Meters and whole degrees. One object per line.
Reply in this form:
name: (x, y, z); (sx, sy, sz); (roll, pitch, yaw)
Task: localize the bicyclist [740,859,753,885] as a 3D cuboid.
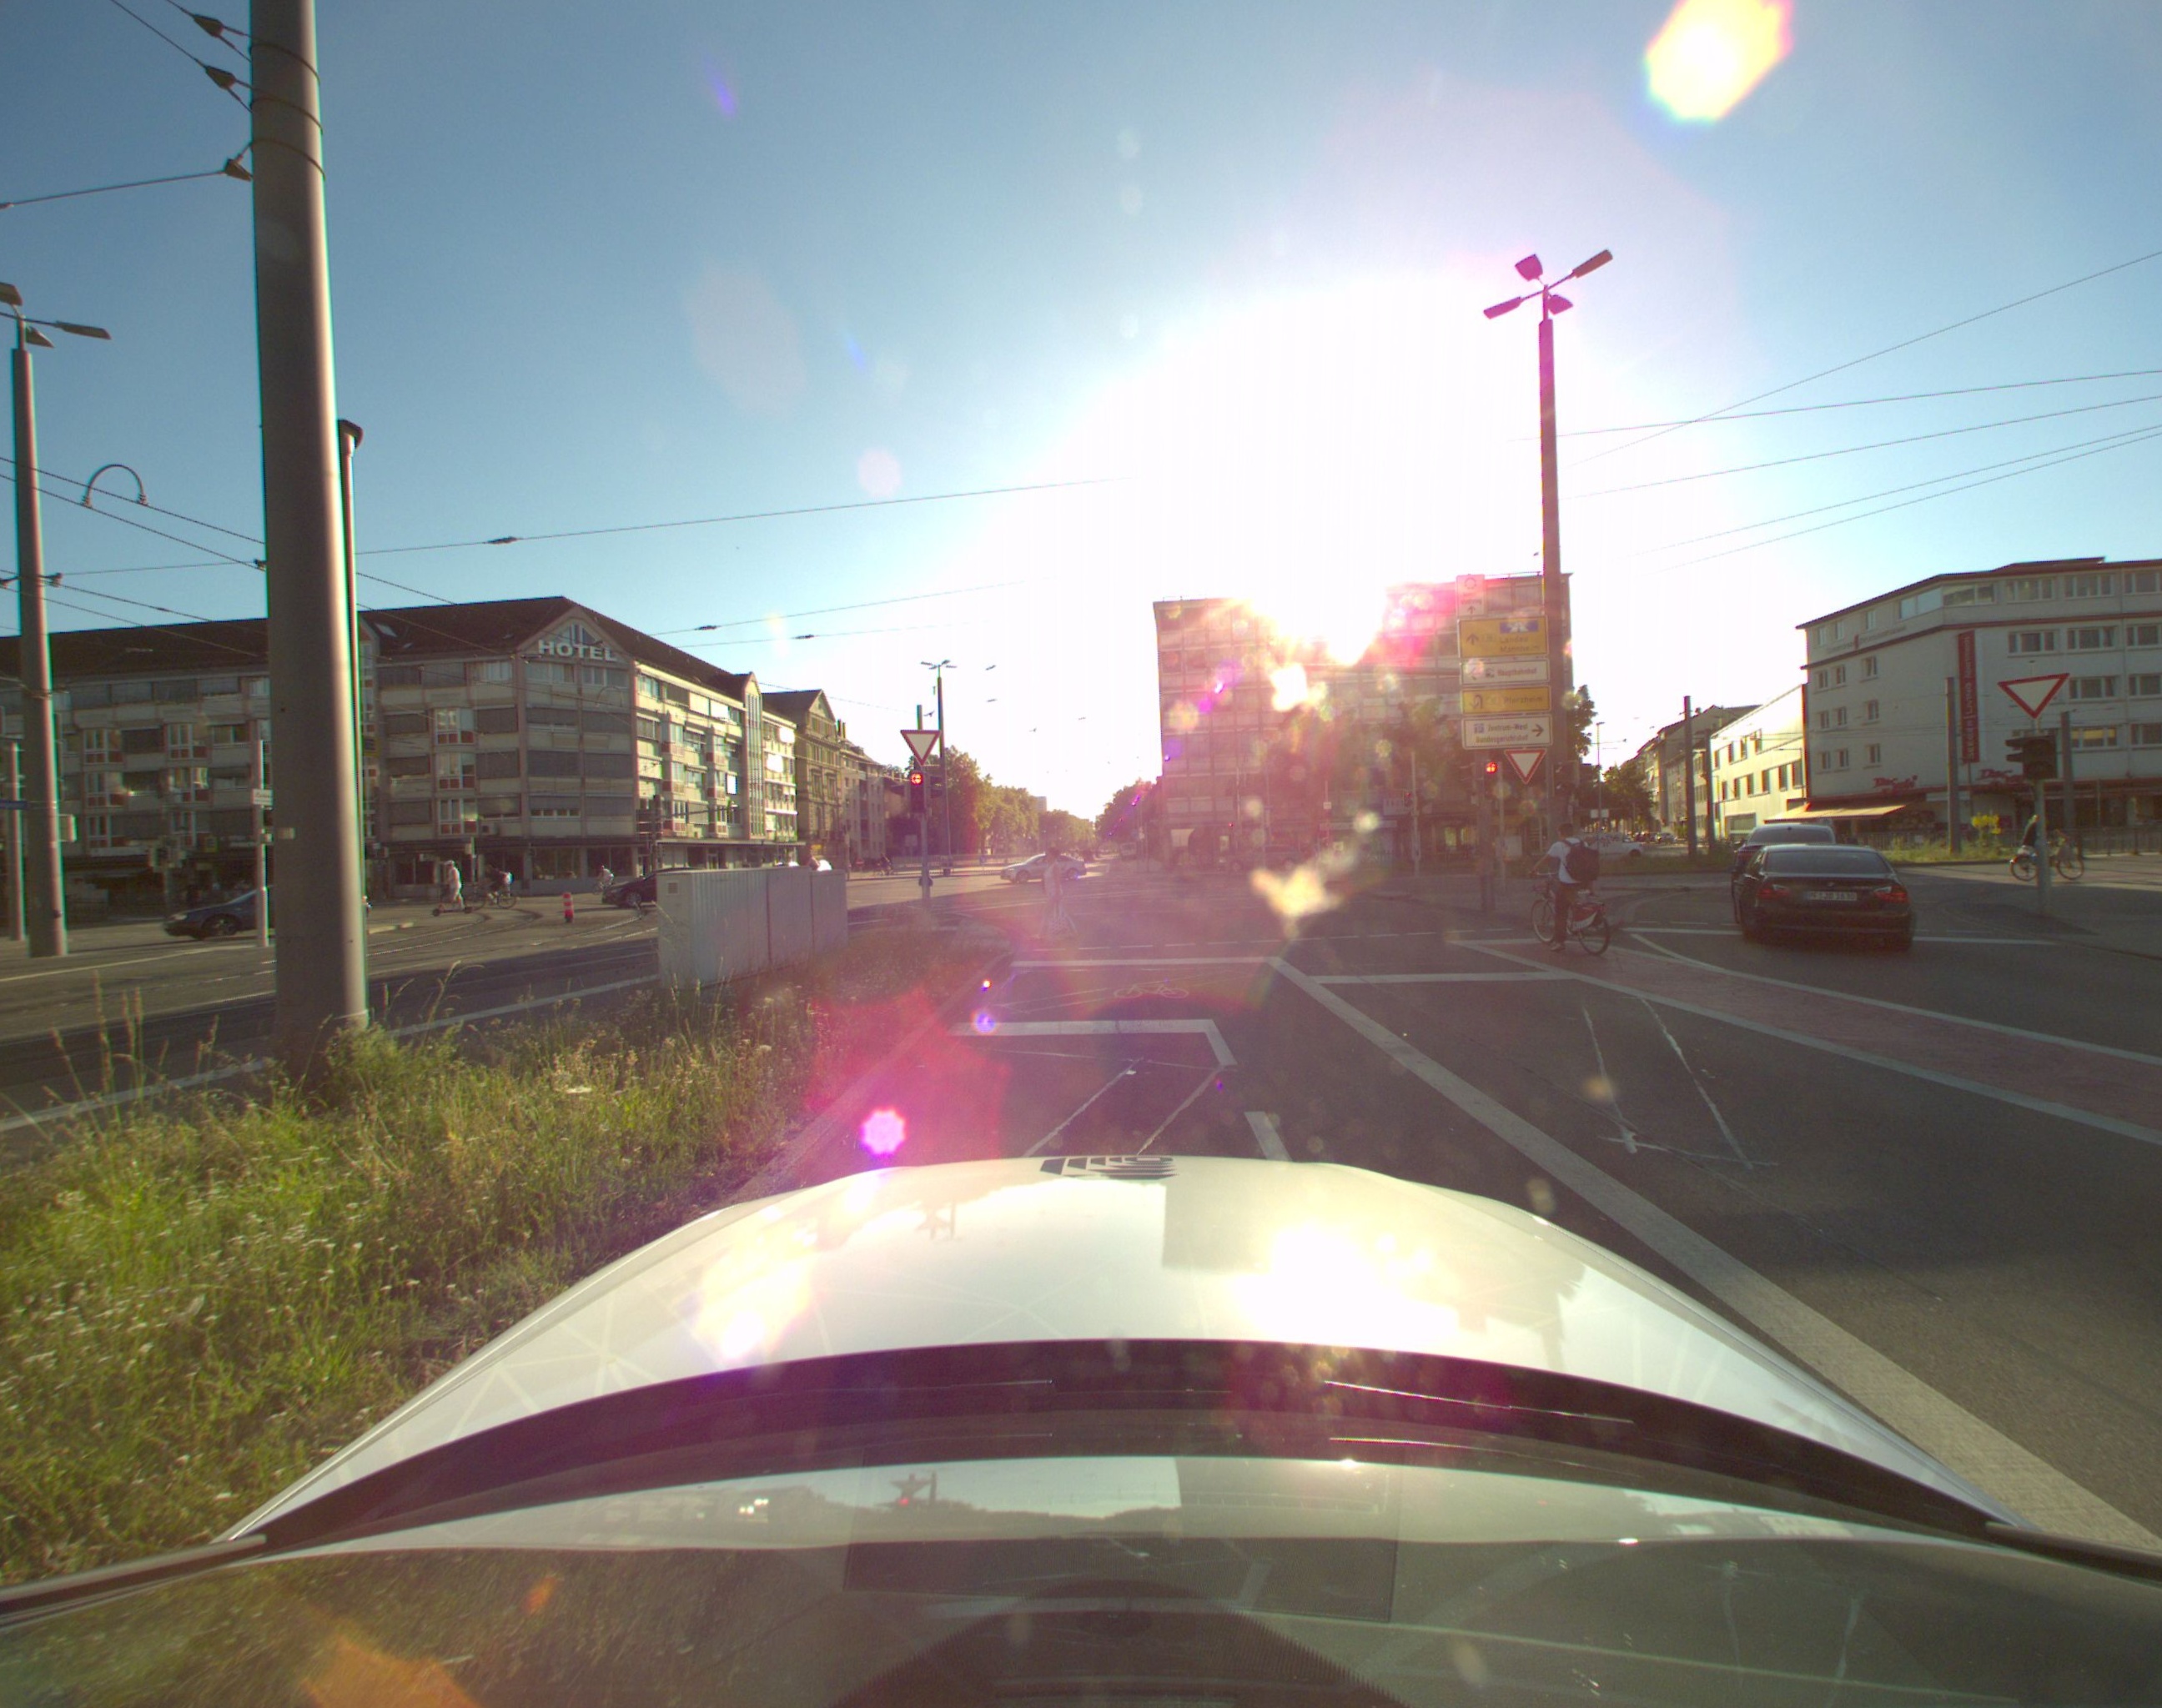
bicyclist: (-26.534, 1.452, 64.621); (0.601, 2.013, 0.778); (-2, 0, -2)

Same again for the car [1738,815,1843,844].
car: (39.371, -1.325, 45.255); (3.968, 1.420, 2.003); (-2, 0, 5)

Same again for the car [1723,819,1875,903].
car: (16.357, 0.072, 18.502); (4.020, 1.693, 1.977); (-2, 2, -39)

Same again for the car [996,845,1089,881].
car: (-1.974, 0.460, 41.773); (4.352, 1.596, 1.984); (-3, 0, -24)

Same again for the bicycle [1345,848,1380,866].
bicycle: (17.743, 0.181, 51.350); (1.967, 1.098, 0.677); (-2, 0, -2)

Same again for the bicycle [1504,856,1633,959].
bicycle: (6.680, 0.674, 11.291); (0.642, 1.223, 2.050); (0, 2, 3)

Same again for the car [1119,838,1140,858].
car: (6.450, -0.739, 108.953); (2.477, 2.392, 5.936); (-4, 0, 2)

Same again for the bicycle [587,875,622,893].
bicycle: (-29.524, 1.849, 50.438); (1.731, 1.059, 0.538); (-3, 0, -8)

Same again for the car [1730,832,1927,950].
car: (10.755, 0.424, 11.996); (1.727, 1.426, 4.026); (-2, 0, 37)

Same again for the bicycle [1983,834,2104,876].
bicycle: (25.341, 0.032, 21.472); (2.215, 1.026, 0.683); (-2, 0, 5)

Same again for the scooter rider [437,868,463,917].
scooter rider: (-23.034, 1.403, 29.753); (0.669, 1.712, 0.521); (-2, 0, -36)

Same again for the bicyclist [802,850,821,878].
bicyclist: (-17.007, 0.632, 51.406); (0.896, 1.752, 0.654); (-3, 0, -2)

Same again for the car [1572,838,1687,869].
car: (29.845, -0.026, 44.411); (4.901, 1.479, 2.001); (-2, 0, 1)

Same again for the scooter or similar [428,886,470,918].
scooter or similar: (-23.062, 1.734, 29.729); (1.181, 1.072, 0.524); (-3, 0, -37)

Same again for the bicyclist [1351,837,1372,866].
bicyclist: (17.682, -0.155, 51.346); (1.037, 1.739, 0.677); (-2, 0, -2)

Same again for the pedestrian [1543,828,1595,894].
pedestrian: (12.274, 0.176, 20.499); (0.876, 1.597, 0.655); (-2, 0, 0)

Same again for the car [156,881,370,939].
car: (-23.406, 1.542, 23.464); (1.823, 1.288, 4.026); (-2, 0, 33)

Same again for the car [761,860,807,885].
car: (-24.229, 1.453, 66.593); (1.984, 1.859, 4.005); (-3, 0, 4)

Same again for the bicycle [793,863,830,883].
bicycle: (-17.007, 1.195, 51.402); (2.089, 1.137, 0.658); (-3, 0, -3)

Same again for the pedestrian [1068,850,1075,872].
pedestrian: (-0.634, 0.484, 56.001); (0.365, 1.508, 0.542); (-3, 0, -5)

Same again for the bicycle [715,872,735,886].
bicycle: (-27.449, 1.923, 62.747); (0.596, 0.915, 1.838); (-3, 0, 4)

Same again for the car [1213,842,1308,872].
car: (9.875, 0.155, 45.132); (4.896, 1.479, 2.003); (-2, 0, 5)

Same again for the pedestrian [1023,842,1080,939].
pedestrian: (-0.500, 0.617, 14.044); (0.875, 1.597, 0.655); (-2, 0, 1)

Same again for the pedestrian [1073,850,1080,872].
pedestrian: (-0.324, 0.472, 57.262); (0.365, 1.508, 0.542); (-3, 0, -5)

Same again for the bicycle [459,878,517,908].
bicycle: (-24.008, 1.581, 33.005); (0.528, 1.072, 1.793); (-3, 0, 38)

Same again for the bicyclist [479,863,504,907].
bicyclist: (-23.953, 1.257, 33.090); (0.531, 1.712, 0.670); (-3, 0, 39)

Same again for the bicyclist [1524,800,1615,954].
bicyclist: (6.682, 0.290, 11.187); (0.641, 2.013, 1.068); (0, 2, 3)

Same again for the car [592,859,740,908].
car: (-16.085, 1.100, 31.721); (4.803, 1.596, 1.977); (-3, 0, -38)

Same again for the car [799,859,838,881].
car: (-24.014, 1.456, 74.675); (1.984, 1.859, 4.005); (-3, 0, 4)

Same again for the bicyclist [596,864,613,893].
bicyclist: (-29.524, 1.517, 50.439); (0.663, 1.712, 0.537); (-3, 0, -8)

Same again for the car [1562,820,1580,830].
car: (70.808, -4.152, 117.681); (1.974, 1.398, 4.025); (-3, 0, 29)

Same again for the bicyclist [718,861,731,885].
bicyclist: (-27.480, 1.464, 62.747); (0.590, 1.862, 0.642); (-3, 0, 3)

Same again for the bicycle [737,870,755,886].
bicycle: (-26.527, 1.874, 64.590); (0.606, 1.201, 1.966); (-2, 0, -1)

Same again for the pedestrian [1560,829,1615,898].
pedestrian: (12.247, 0.227, 19.702); (0.876, 1.597, 0.655); (-2, 0, 0)

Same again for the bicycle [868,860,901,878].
bicycle: (-14.079, 1.070, 58.443); (2.168, 1.137, 0.658); (-3, 0, -3)

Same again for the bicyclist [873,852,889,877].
bicyclist: (-14.333, 0.773, 58.429); (0.896, 1.752, 0.650); (-3, 0, -2)

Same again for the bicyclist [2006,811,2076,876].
bicyclist: (25.296, -0.278, 21.475); (0.954, 1.661, 0.692); (-2, 0, 5)
